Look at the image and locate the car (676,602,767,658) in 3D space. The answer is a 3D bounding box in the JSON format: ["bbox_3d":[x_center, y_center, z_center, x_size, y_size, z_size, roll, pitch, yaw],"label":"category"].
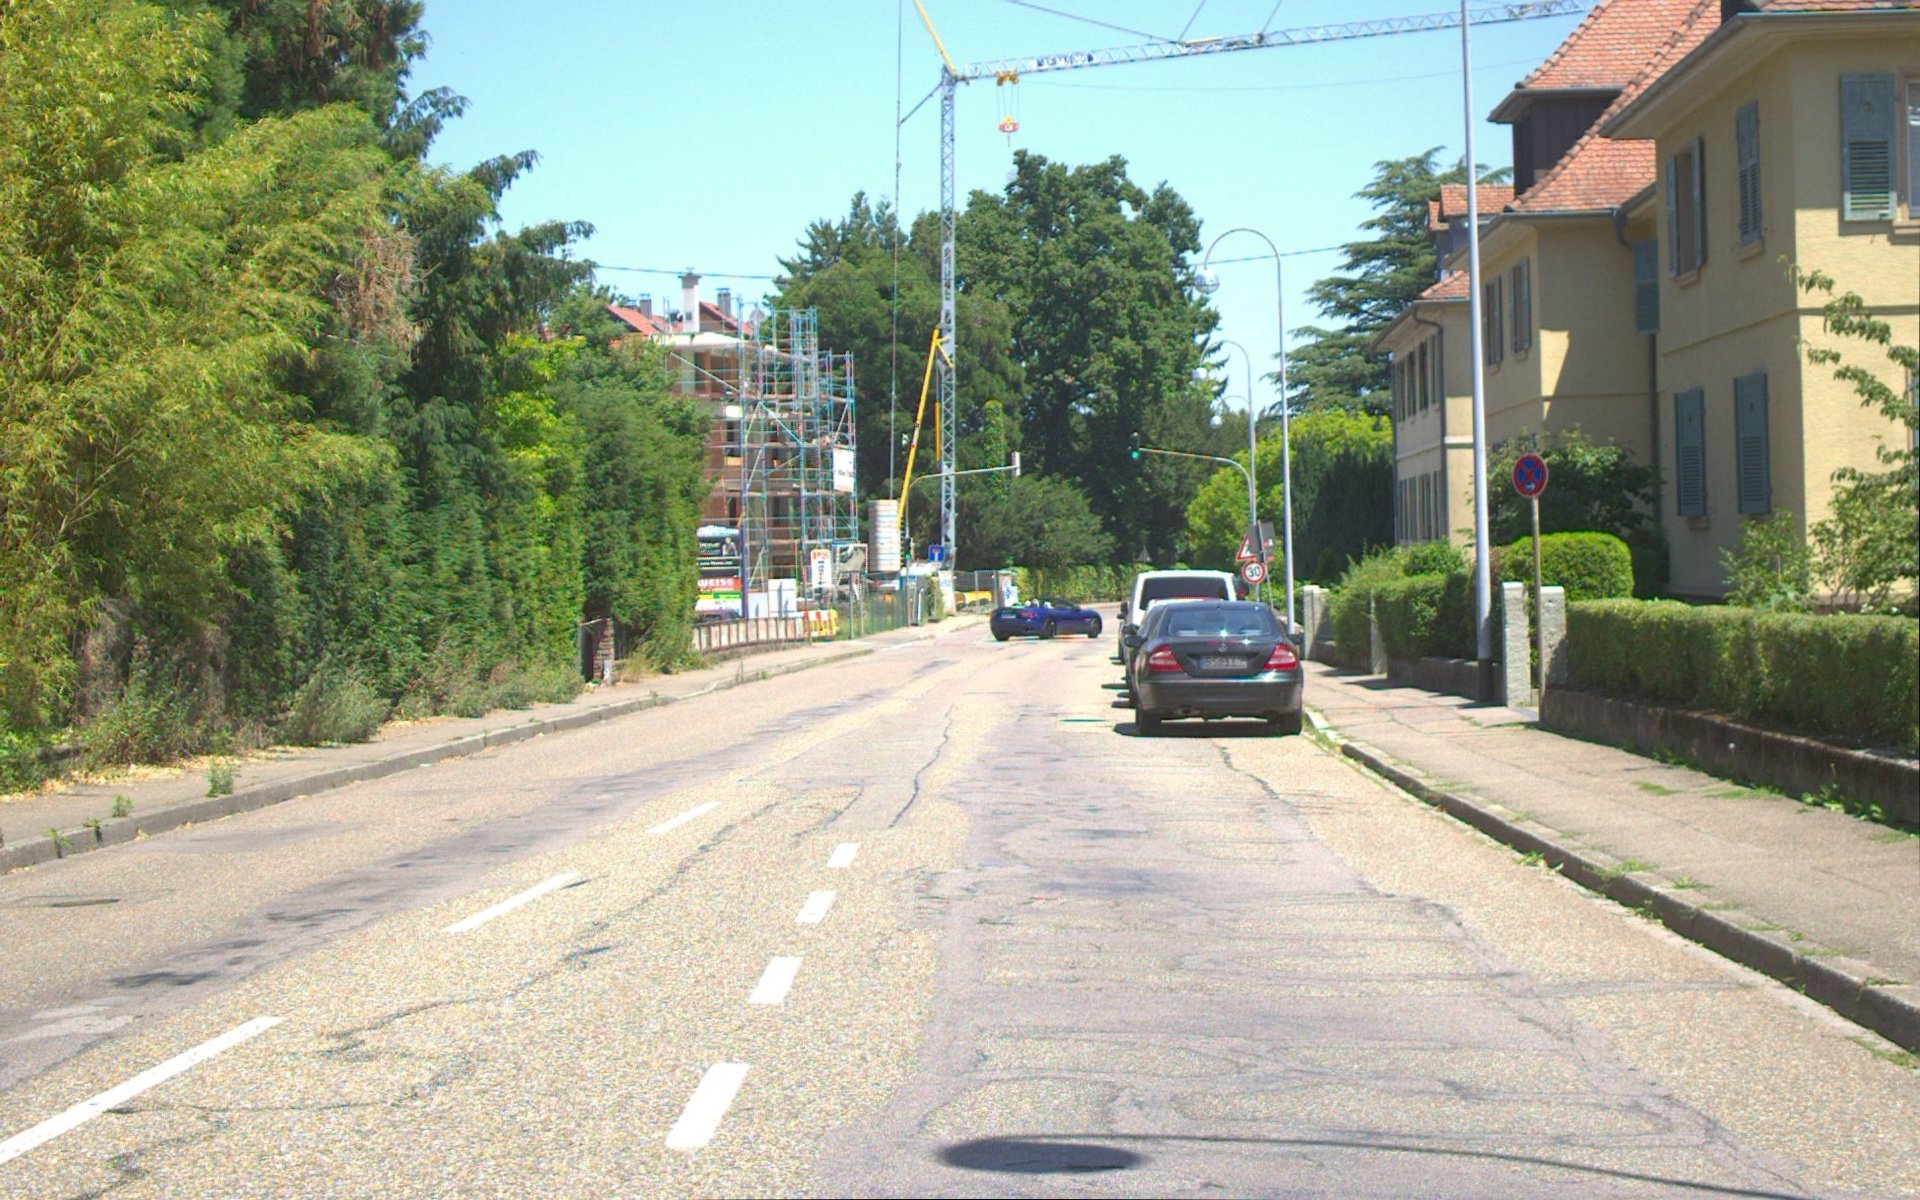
[{"bbox_3d":[-6.293,0.778,90.932,1.660,1.384,3.533,-2,0,8],"label":"car"}]

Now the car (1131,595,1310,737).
[{"bbox_3d":[2.754,0.681,37.124,1.693,1.414,4.550,-1,0,2],"label":"car"}]

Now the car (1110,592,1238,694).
[{"bbox_3d":[3.184,0.615,51.700,1.761,1.446,3.648,-1,0,1],"label":"car"}]

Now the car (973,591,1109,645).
[{"bbox_3d":[2.548,0.565,107.445,3.990,1.463,1.963,-4,2,-45],"label":"car"}]

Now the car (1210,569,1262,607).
[{"bbox_3d":[12.736,-0.545,158.589,1.994,1.656,3.998,-2,0,9],"label":"car"}]

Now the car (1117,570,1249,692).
[{"bbox_3d":[3.651,0.492,56.988,1.993,1.894,4.822,1,0,2],"label":"car"}]
